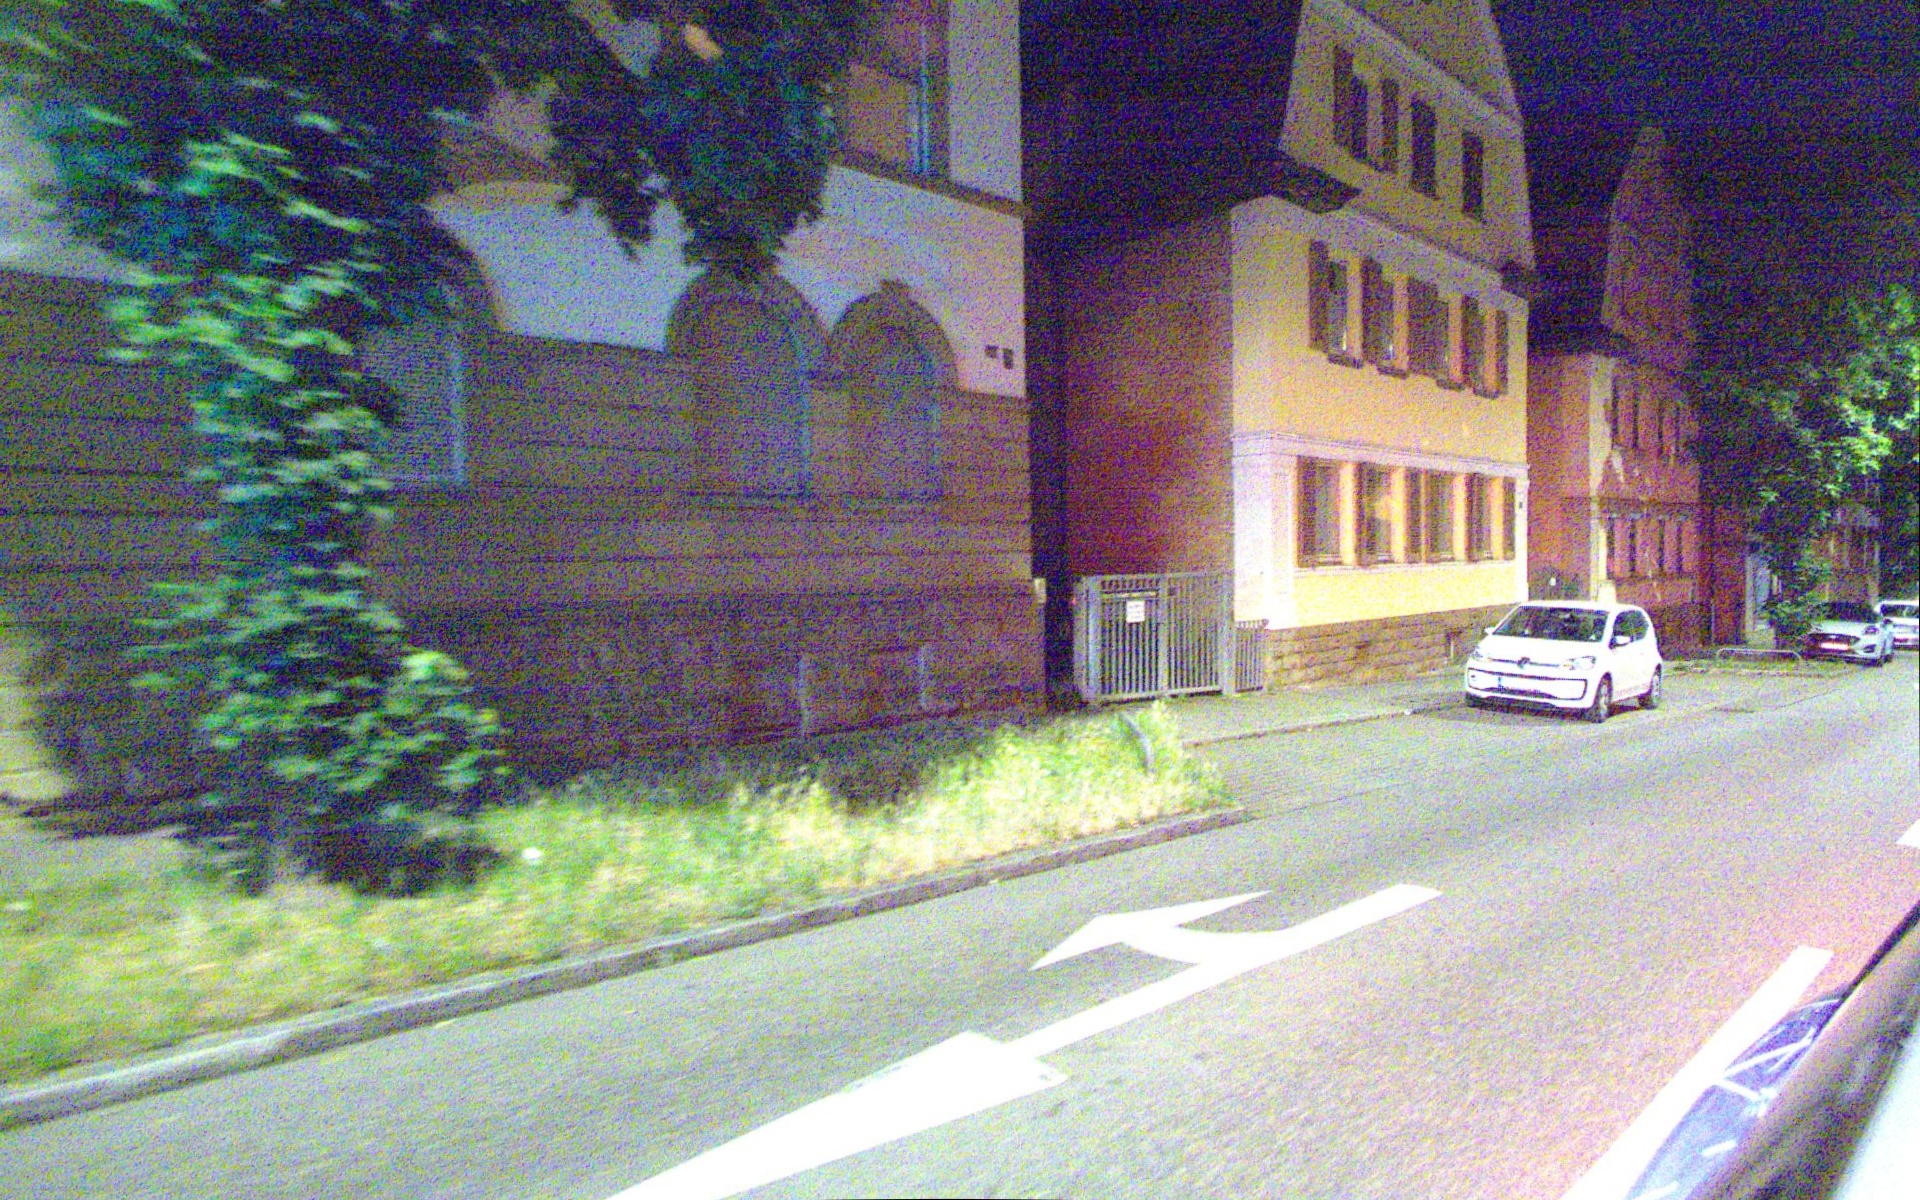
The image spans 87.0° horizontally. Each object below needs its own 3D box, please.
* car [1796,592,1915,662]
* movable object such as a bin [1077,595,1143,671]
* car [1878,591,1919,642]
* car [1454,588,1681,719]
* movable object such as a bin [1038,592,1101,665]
[{"bbox_3d":[22.912,0.630,25.840,3.977,1.572,1.862,0,2,-43],"label":"car"},{"bbox_3d":[2.169,0.461,14.645,0.742,1.062,0.608,0,0,-41],"label":"movable object such as a bin"},{"bbox_3d":[32.884,0.566,34.512,4.281,1.617,1.742,0,2,-40],"label":"car"},{"bbox_3d":[8.412,0.634,13.902,3.541,1.503,1.671,0,2,-42],"label":"car"},{"bbox_3d":[1.651,0.415,15.228,0.742,1.062,0.608,0,0,-41],"label":"movable object such as a bin"}]
